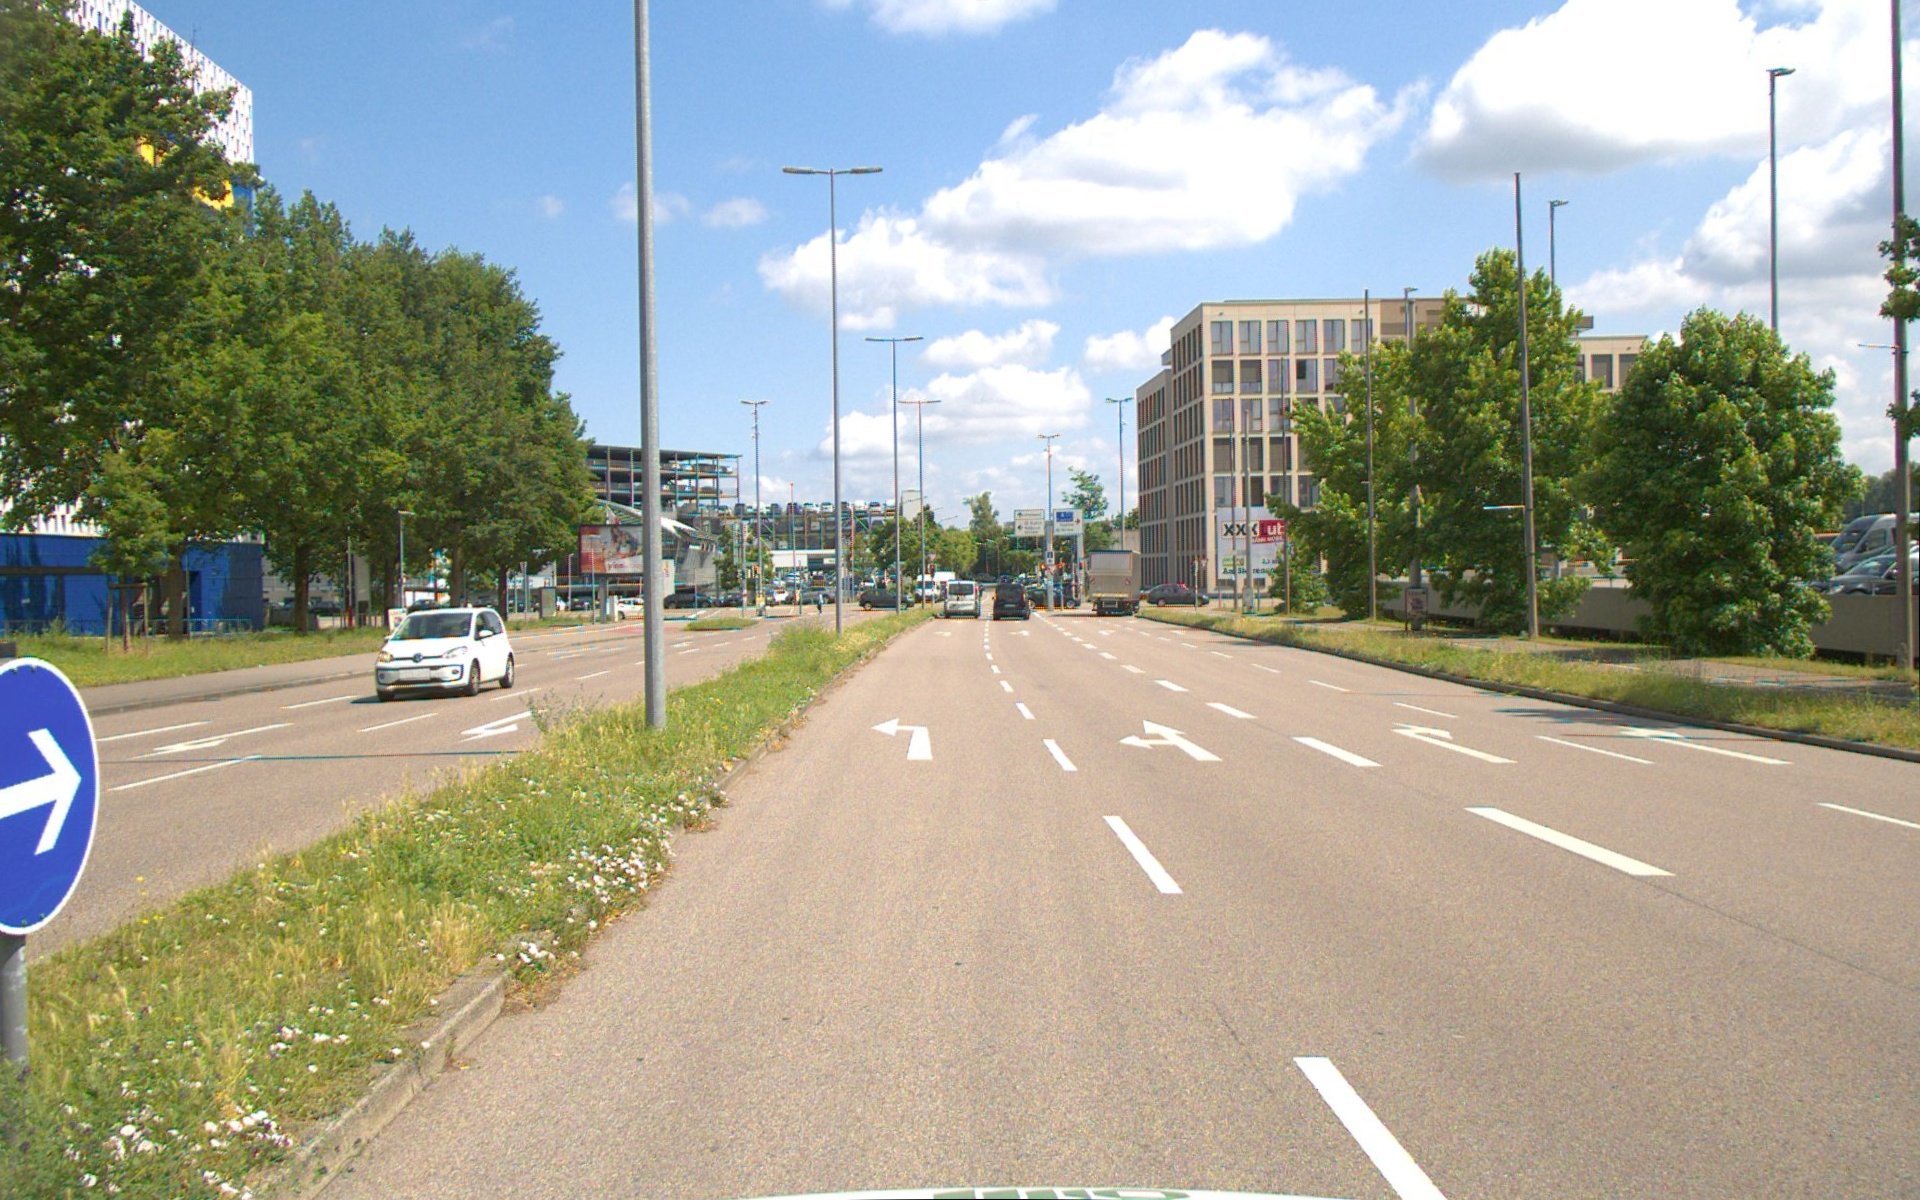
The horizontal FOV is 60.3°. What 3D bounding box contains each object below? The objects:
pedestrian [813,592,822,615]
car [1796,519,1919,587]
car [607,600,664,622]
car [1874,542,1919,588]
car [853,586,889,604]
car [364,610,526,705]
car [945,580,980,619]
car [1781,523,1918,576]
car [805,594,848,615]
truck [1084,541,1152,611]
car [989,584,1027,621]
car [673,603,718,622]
[{"bbox_3d":[-9.530,0.246,110.648,0.460,1.538,0.511,0,0,26],"label":"pedestrian"},{"bbox_3d":[34.071,-1.720,60.921,5.545,2.407,2.060,0,0,-3],"label":"car"},{"bbox_3d":[-23.025,0.759,117.512,3.774,1.492,1.695,0,1,-3],"label":"car"},{"bbox_3d":[33.914,-1.219,56.995,3.907,1.541,1.746,-1,0,-3],"label":"car"},{"bbox_3d":[-9.693,-0.571,180.302,3.909,1.959,1.825,0,0,-6],"label":"car"},{"bbox_3d":[-8.845,0.937,28.690,1.610,1.454,3.670,-2,0,0],"label":"car"},{"bbox_3d":[0.125,-0.065,89.948,1.818,2.053,4.000,0,1,-1],"label":"car"},{"bbox_3d":[39.314,-2.232,73.183,5.056,2.234,1.986,0,0,-2],"label":"car"},{"bbox_3d":[-11.986,0.416,148.768,3.784,1.668,1.857,-2,1,-3],"label":"car"},{"bbox_3d":[9.593,-1.430,99.611,3.063,4.009,8.866,0,1,12],"label":"truck"},{"bbox_3d":[2.477,0.095,85.198,1.781,1.840,4.002,0,0,4],"label":"car"},{"bbox_3d":[-22.871,1.097,143.083,3.717,1.539,1.678,0,1,-4],"label":"car"}]
